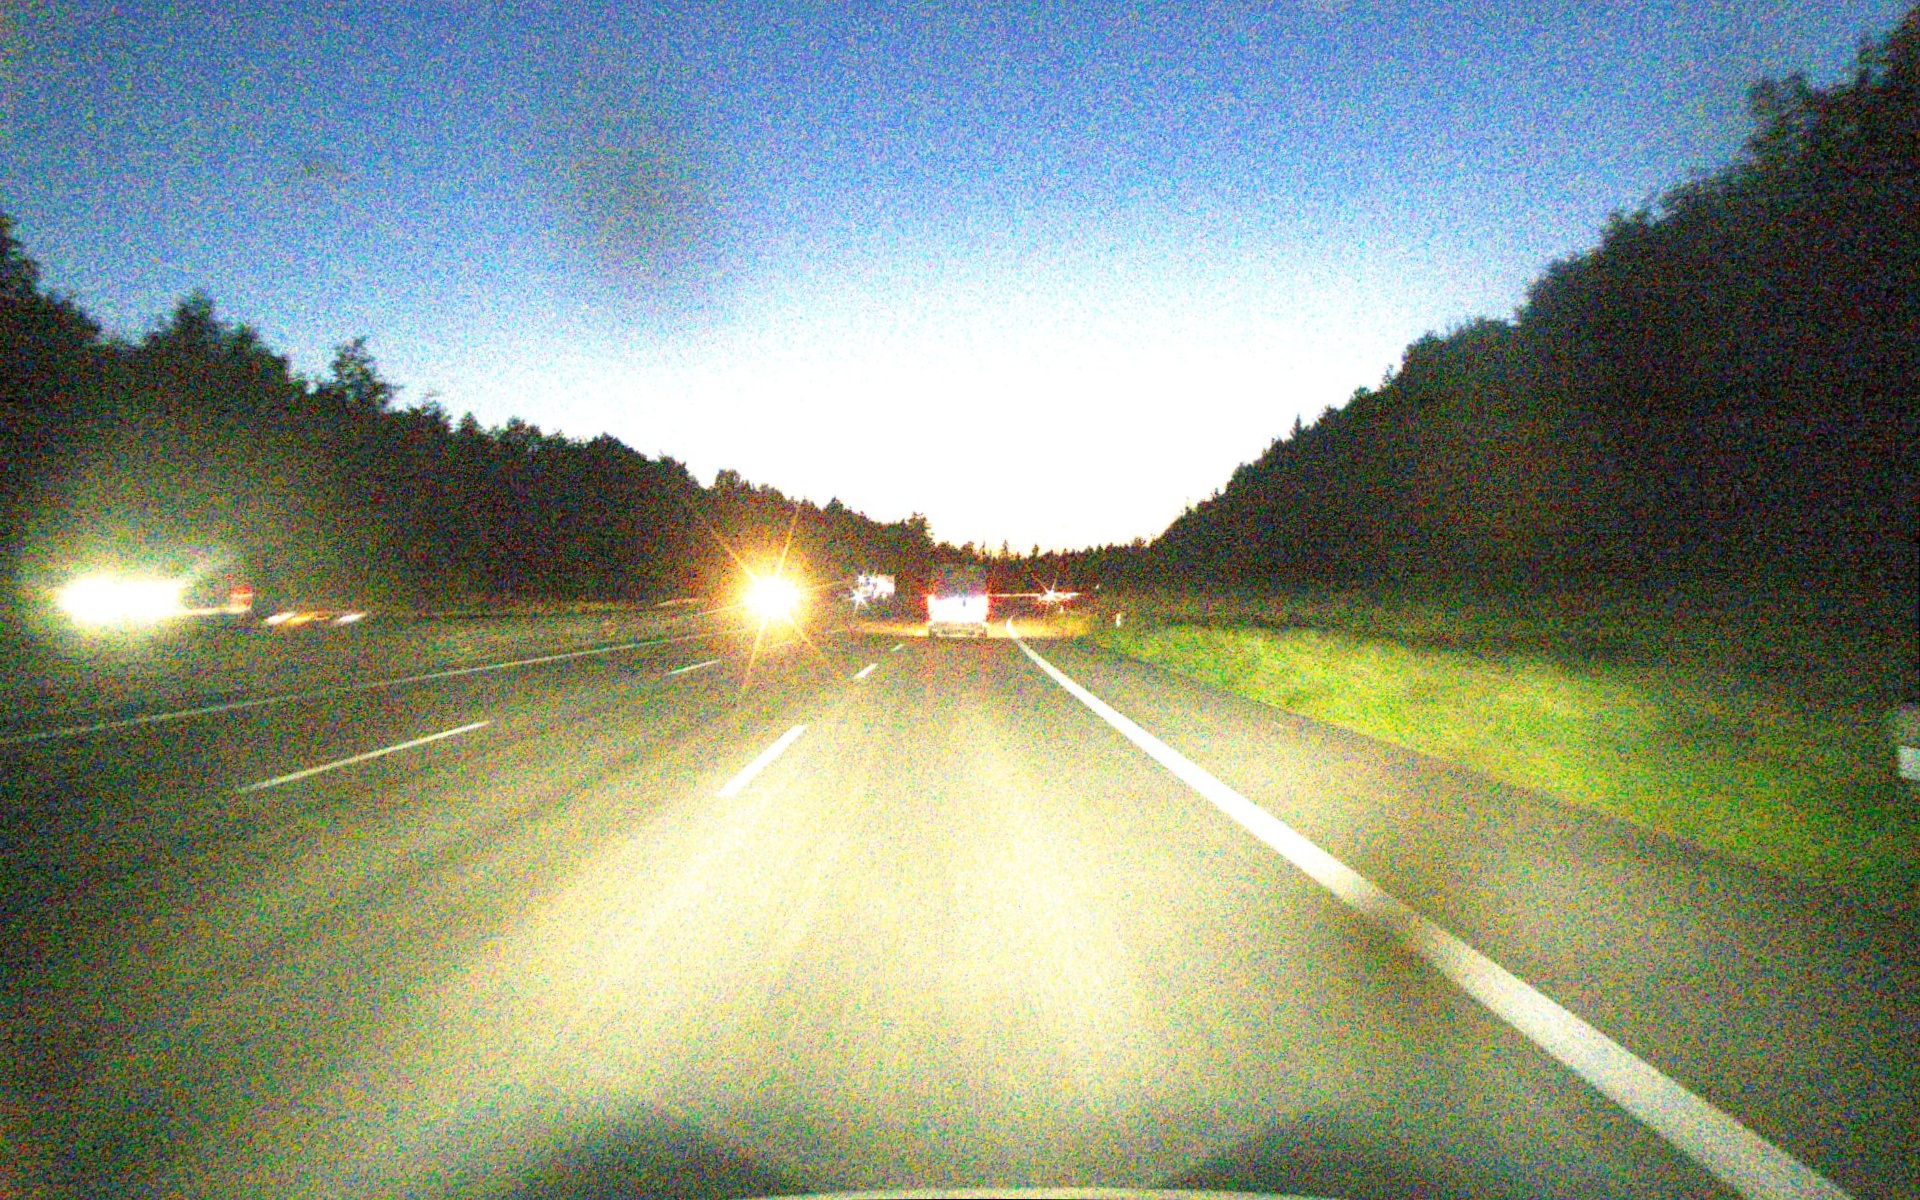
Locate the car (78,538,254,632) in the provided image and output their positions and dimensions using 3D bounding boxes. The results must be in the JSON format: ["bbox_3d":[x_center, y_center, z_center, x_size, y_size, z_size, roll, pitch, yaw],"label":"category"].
[{"bbox_3d":[-22.810,-0.396,47.856,2.039,2.531,6.242,0,0,0],"label":"car"}]

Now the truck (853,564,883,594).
[{"bbox_3d":[-12.923,-2.942,233.737,3.429,4.039,6.702,0,0,4],"label":"truck"}]

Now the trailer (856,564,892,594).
[{"bbox_3d":[-12.494,-2.983,241.386,3.469,4.070,17.289,0,0,3],"label":"trailer"}]

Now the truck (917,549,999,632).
[{"bbox_3d":[-0.176,-0.304,58.588,2.577,2.670,8.681,0,0,-2],"label":"truck"}]

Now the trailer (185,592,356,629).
[{"bbox_3d":[-22.727,0.323,55.010,2.365,1.123,8.076,0,0,0],"label":"trailer"}]
